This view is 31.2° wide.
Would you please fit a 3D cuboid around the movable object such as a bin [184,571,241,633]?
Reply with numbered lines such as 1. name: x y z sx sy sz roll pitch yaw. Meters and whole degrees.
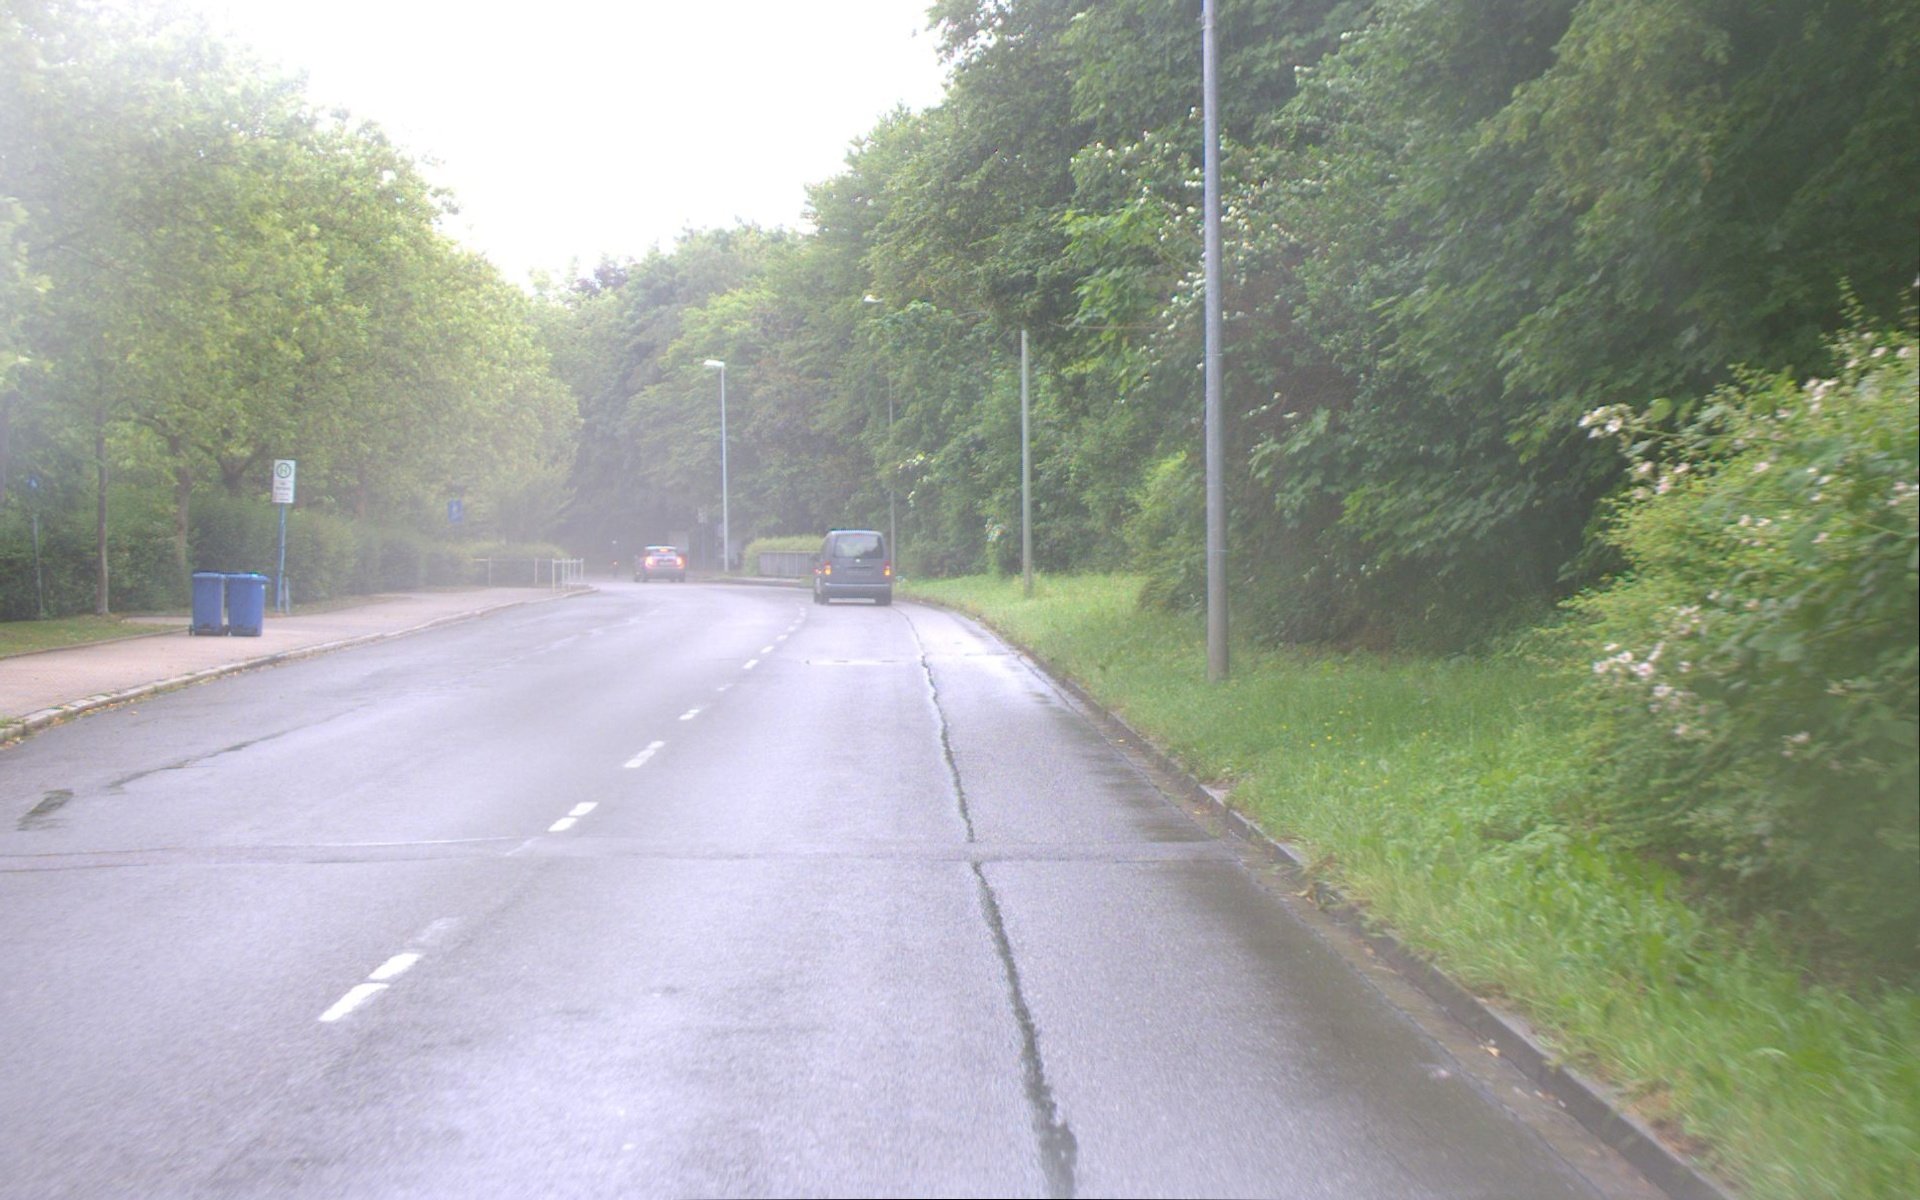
1. movable object such as a bin: -12.776 0.028 58.760 0.666 1.023 0.835 -3 2 -32

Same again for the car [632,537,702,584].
1. car: -11.569 -1.562 135.697 1.993 1.766 4.001 -1 1 -16

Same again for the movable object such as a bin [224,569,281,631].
1. movable object such as a bin: -12.162 0.003 59.122 0.666 1.023 0.835 -3 2 -32

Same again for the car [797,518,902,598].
1. car: -2.747 -1.059 84.704 1.993 1.787 4.002 2 2 -10
